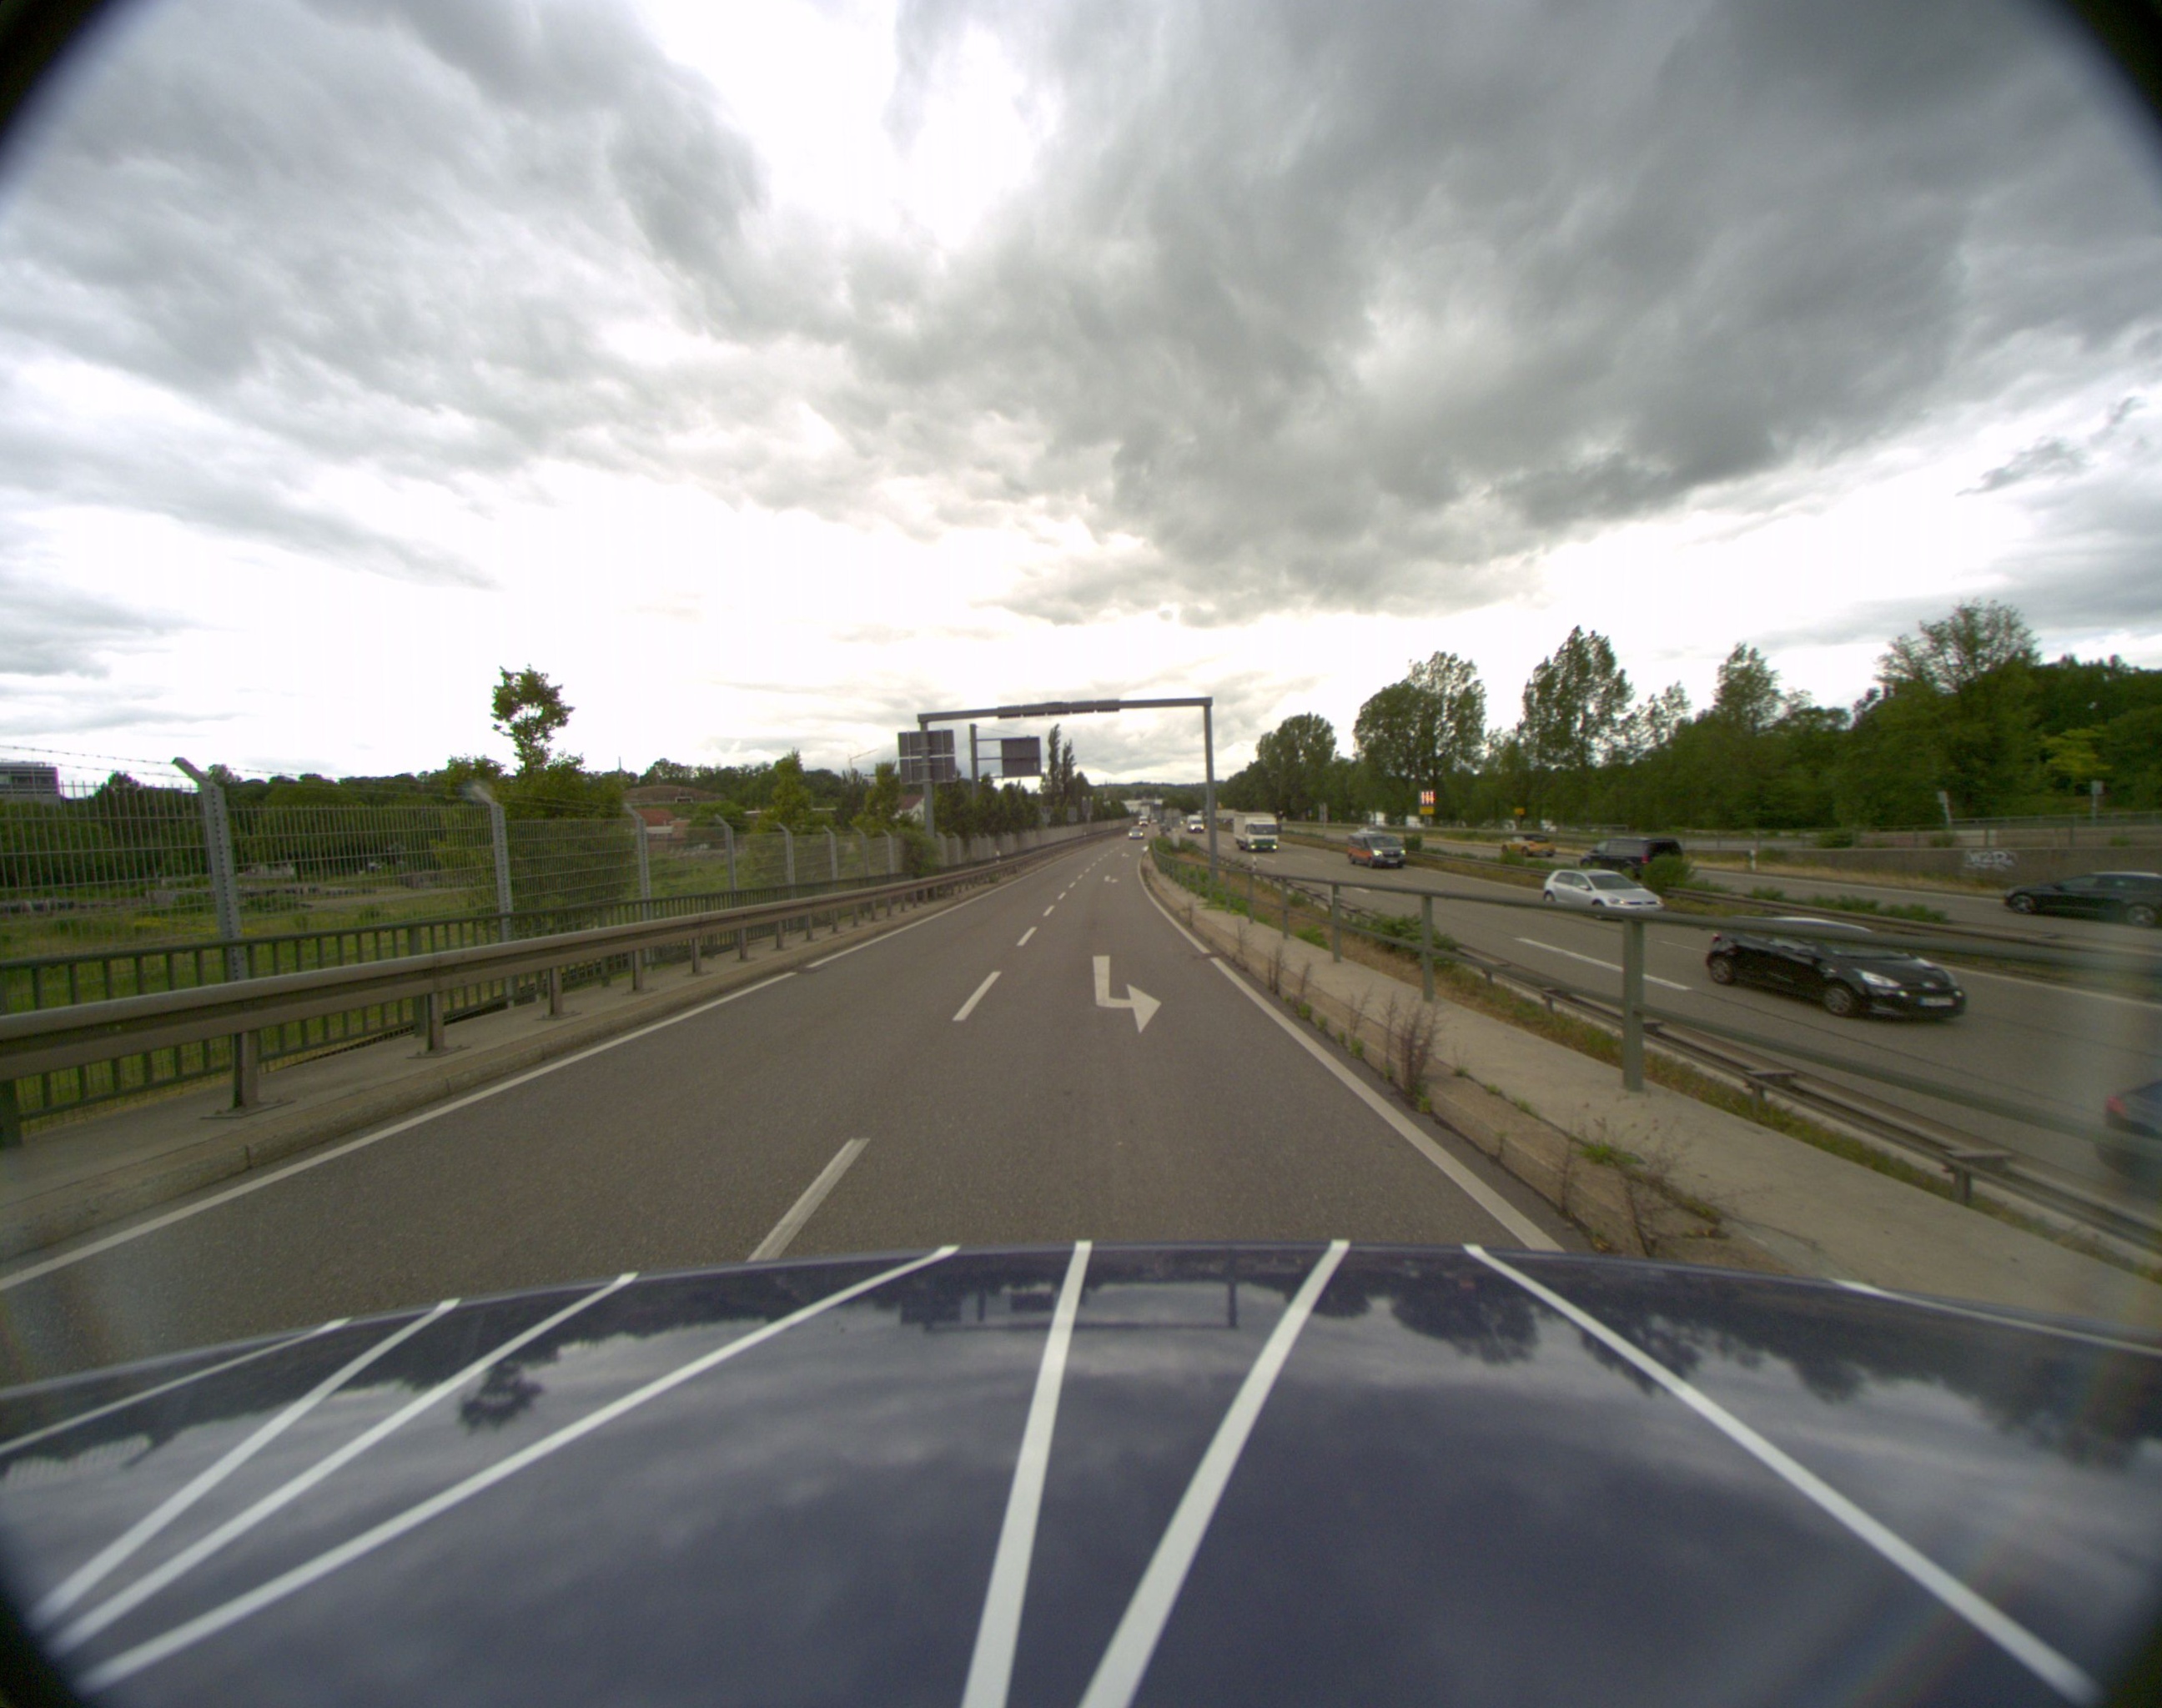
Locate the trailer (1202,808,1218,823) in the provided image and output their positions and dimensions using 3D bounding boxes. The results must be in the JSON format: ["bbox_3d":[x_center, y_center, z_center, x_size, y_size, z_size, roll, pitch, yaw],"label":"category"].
[{"bbox_3d":[43.544,-12.992,256.529,3.471,4.648,14.776,-2,3,3],"label":"trailer"}]

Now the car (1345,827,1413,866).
[{"bbox_3d":[17.999,-0.509,46.249,2.099,2.003,5.335,-1,4,0],"label":"car"}]

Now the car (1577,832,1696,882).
[{"bbox_3d":[26.697,0.067,36.818,2.097,1.978,5.112,-1,4,2],"label":"car"}]

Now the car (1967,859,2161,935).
[{"bbox_3d":[29.711,1.159,22.236,1.998,1.683,4.700,-1,4,0],"label":"car"}]

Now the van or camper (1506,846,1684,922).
[{"bbox_3d":[17.308,0.869,26.142,1.887,1.859,6.343,-3,4,1],"label":"van or camper"}]

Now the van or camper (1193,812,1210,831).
[{"bbox_3d":[18.307,-5.032,115.396,2.208,2.590,6.330,-2,4,12],"label":"van or camper"}]

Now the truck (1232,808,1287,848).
[{"bbox_3d":[15.028,-2.301,64.553,3.039,3.142,7.563,-1,4,1],"label":"truck"}]

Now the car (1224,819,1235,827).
[{"bbox_3d":[35.221,-7.400,180.513,1.998,1.743,3.999,-1,3,5],"label":"car"}]

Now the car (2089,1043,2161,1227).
[{"bbox_3d":[10.256,2.621,4.956,1.939,1.493,4.305,0,3,9],"label":"car"}]

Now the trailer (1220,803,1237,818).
[{"bbox_3d":[40.964,-12.172,211.589,2.796,3.928,13.507,-3,3,4],"label":"trailer"}]

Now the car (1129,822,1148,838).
[{"bbox_3d":[7.277,-2.997,96.141,1.997,2.002,4.002,-1,1,9],"label":"car"}]

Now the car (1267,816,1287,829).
[{"bbox_3d":[27.373,-4.388,106.478,1.998,1.719,3.999,-1,3,4],"label":"car"}]

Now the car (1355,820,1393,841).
[{"bbox_3d":[28.962,-2.377,75.261,1.998,1.684,4.698,-1,7,1],"label":"car"}]

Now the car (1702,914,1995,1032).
[{"bbox_3d":[13.812,2.064,14.033,1.728,1.320,3.645,-1,5,2],"label":"car"}]

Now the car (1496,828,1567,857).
[{"bbox_3d":[30.514,-0.807,51.679,1.998,1.710,4.700,-1,4,0],"label":"car"}]
